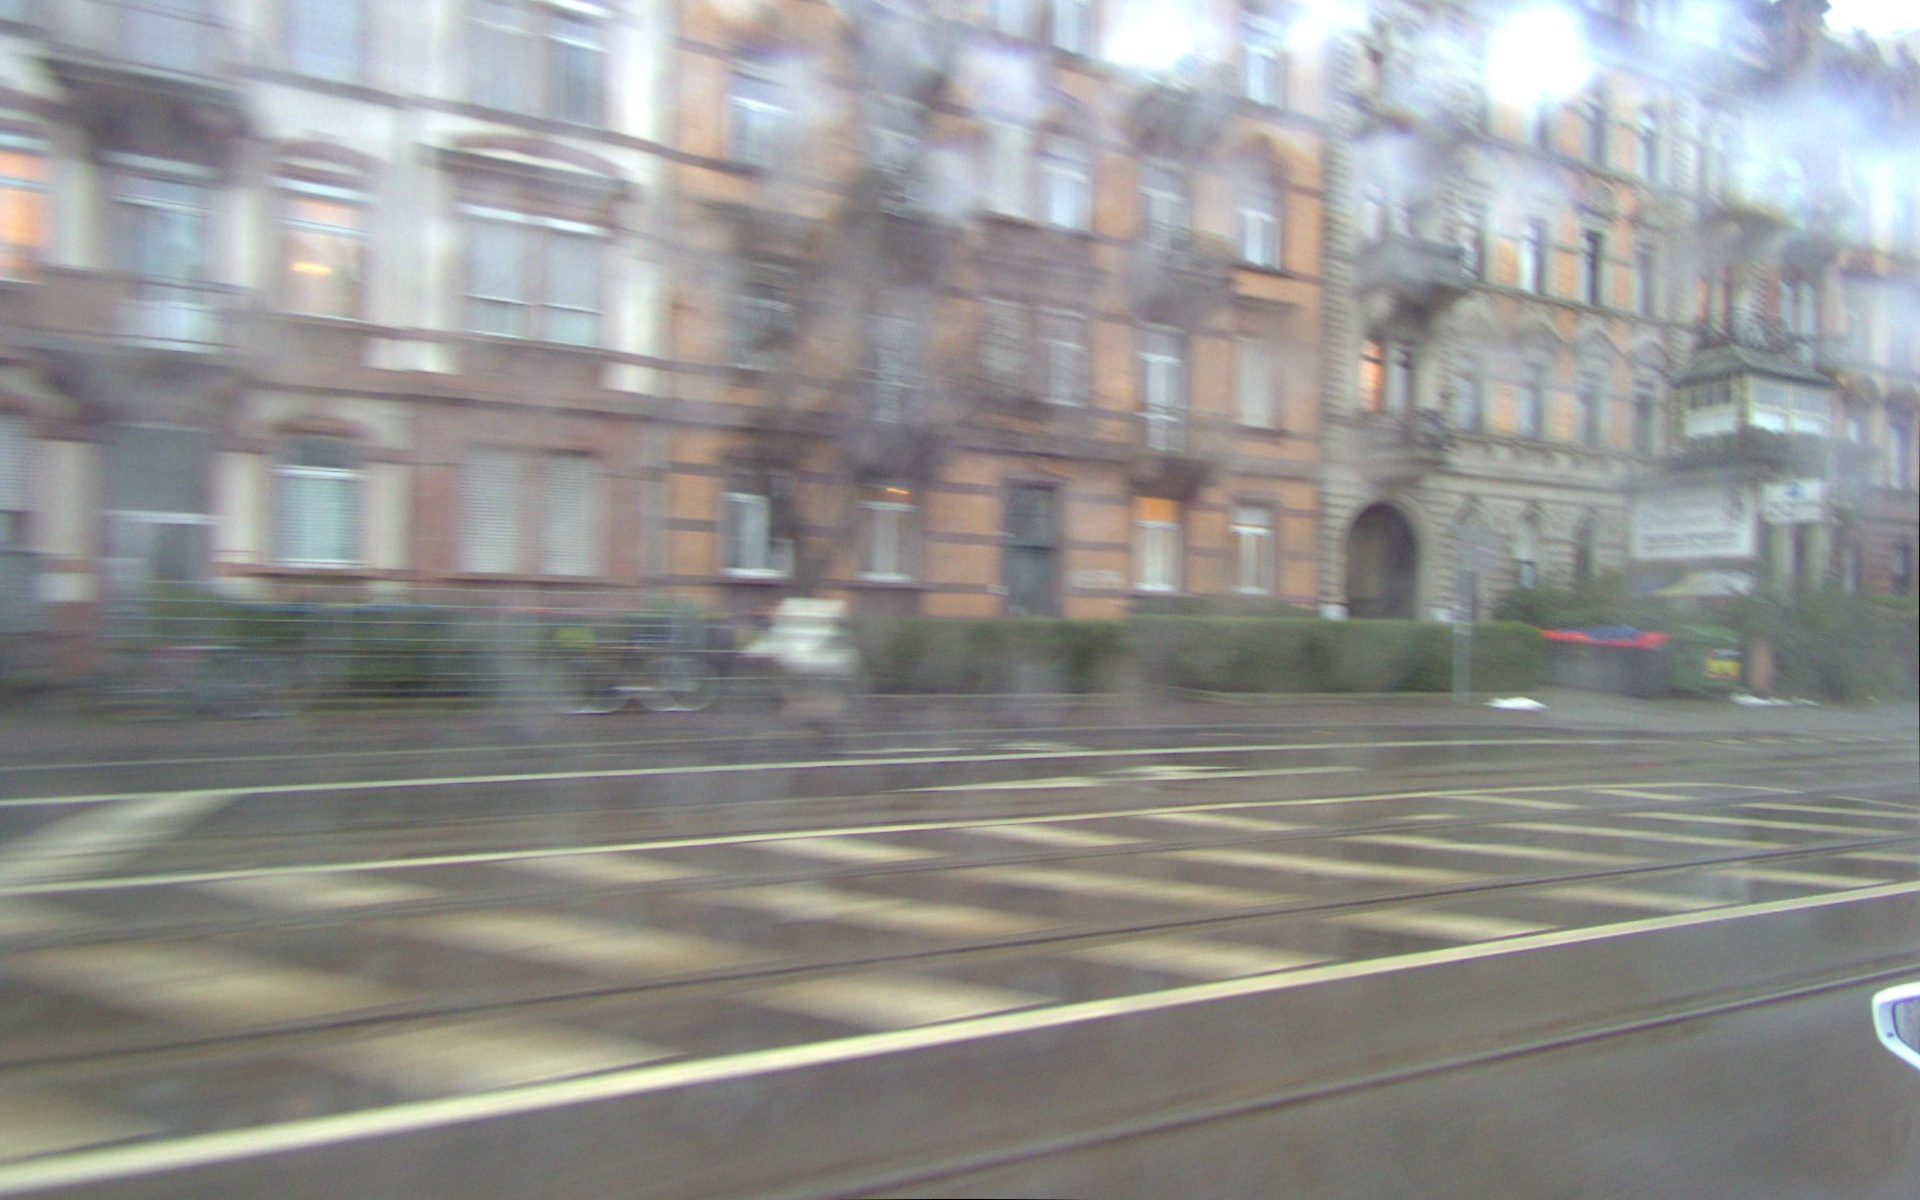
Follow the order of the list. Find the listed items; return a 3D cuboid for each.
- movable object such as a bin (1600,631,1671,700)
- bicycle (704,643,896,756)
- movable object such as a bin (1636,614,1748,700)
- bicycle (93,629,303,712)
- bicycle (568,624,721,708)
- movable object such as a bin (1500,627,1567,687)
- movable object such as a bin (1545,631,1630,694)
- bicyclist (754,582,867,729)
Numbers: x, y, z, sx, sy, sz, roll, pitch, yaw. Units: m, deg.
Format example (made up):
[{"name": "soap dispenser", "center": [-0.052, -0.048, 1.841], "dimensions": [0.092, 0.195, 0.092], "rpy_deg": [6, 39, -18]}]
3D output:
[{"name": "movable object such as a bin", "center": [13.674, 1.313, 20.337], "dimensions": [0.736, 1.309, 0.892], "rpy_deg": [2, 1, -24]}, {"name": "bicycle", "center": [-1.603, 0.982, 10.070], "dimensions": [1.776, 1.020, 0.680], "rpy_deg": [2, 1, -22]}, {"name": "movable object such as a bin", "center": [14.718, 1.128, 20.231], "dimensions": [1.287, 1.607, 1.243], "rpy_deg": [2, 1, -17]}, {"name": "bicycle", "center": [-8.533, 0.799, 11.323], "dimensions": [1.822, 0.874, 0.399], "rpy_deg": [2, 1, -22]}, {"name": "bicycle", "center": [-4.053, 0.856, 12.937], "dimensions": [1.822, 1.020, 0.415], "rpy_deg": [2, 1, -22]}, {"name": "movable object such as a bin", "center": [12.824, 1.267, 22.486], "dimensions": [0.763, 1.260, 1.007], "rpy_deg": [2, 1, -24]}, {"name": "movable object such as a bin", "center": [13.344, 1.315, 21.378], "dimensions": [0.933, 1.223, 1.181], "rpy_deg": [2, 1, -24]}, {"name": "bicyclist", "center": [-1.510, 0.542, 10.082], "dimensions": [0.930, 1.382, 0.703], "rpy_deg": [2, 2, -21]}]
